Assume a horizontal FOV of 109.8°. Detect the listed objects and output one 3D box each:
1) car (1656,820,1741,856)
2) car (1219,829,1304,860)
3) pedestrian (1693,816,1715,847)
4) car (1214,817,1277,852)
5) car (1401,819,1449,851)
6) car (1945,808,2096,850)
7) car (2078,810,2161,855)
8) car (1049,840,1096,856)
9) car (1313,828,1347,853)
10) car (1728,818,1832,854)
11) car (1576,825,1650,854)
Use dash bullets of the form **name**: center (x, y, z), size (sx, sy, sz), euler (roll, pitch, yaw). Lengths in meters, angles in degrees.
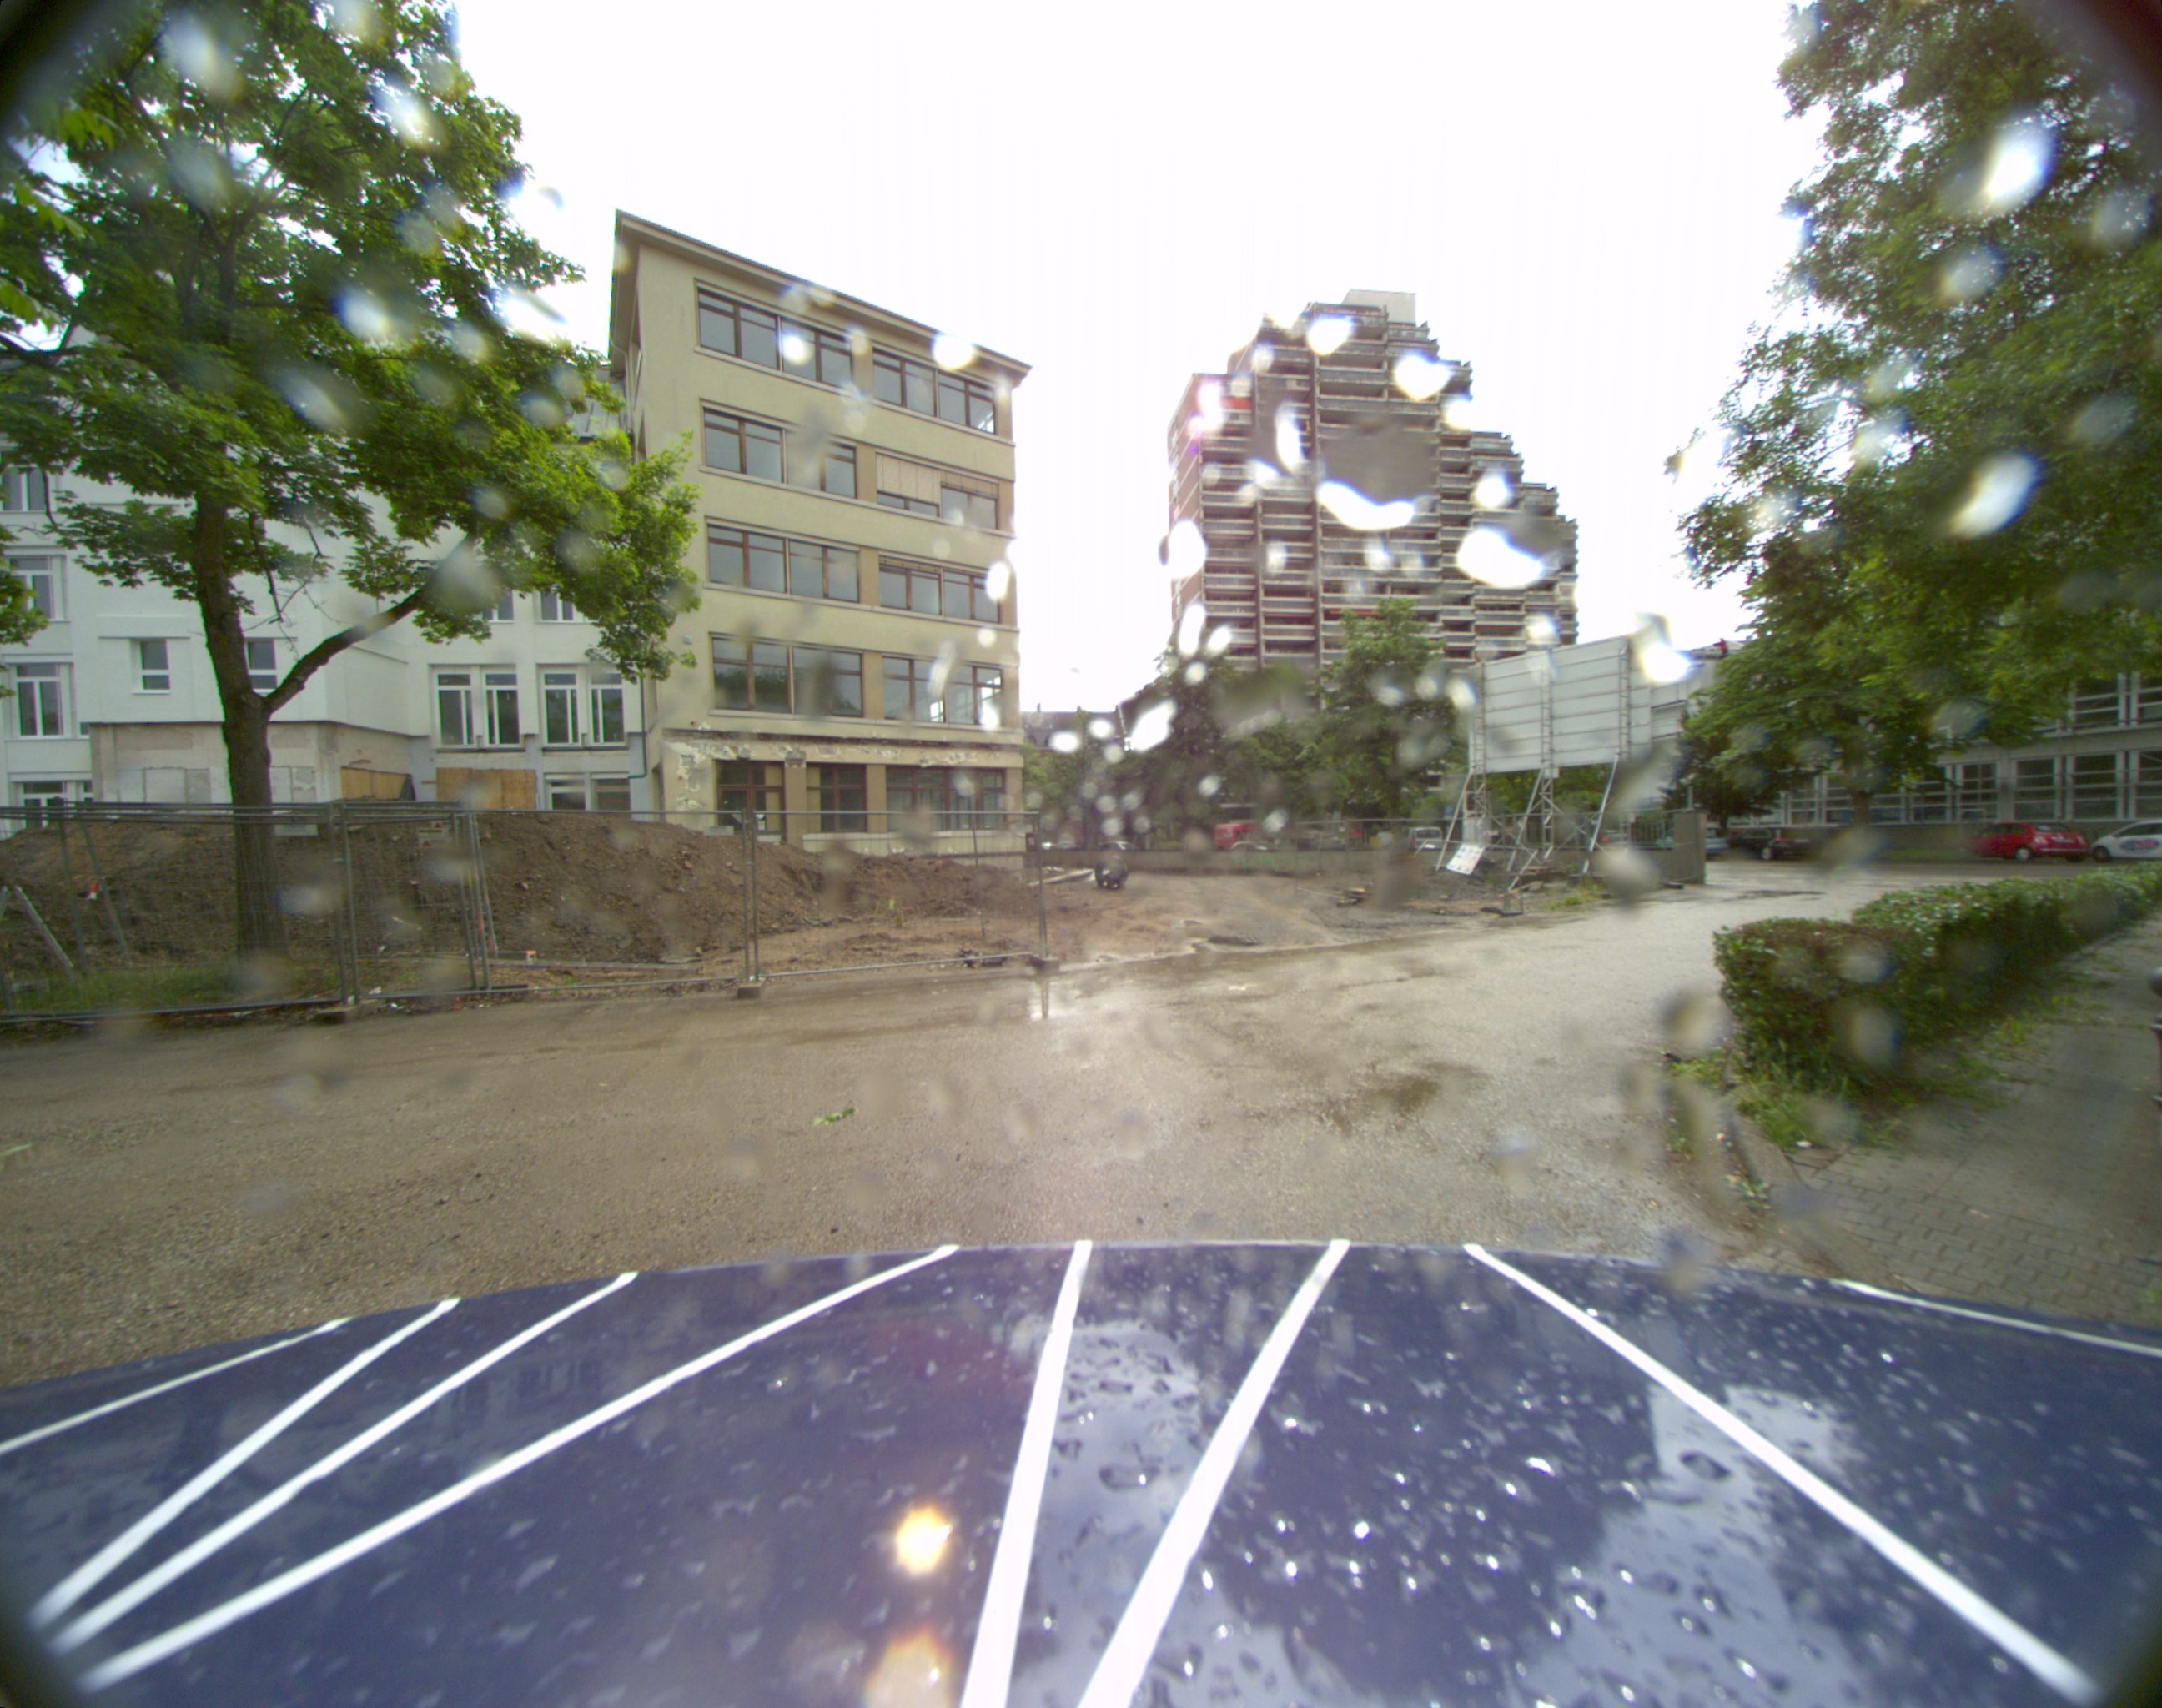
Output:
- **car**: center (29.146, -0.790, 35.984), size (1.705, 1.542, 3.652), euler (-1, 2, 13)
- **car**: center (9.088, -0.476, 38.506), size (1.893, 1.462, 3.990), euler (-1, 0, -33)
- **pedestrian**: center (36.250, -1.300, 44.223), size (0.706, 1.733, 0.840), euler (-1, 1, 16)
- **car**: center (12.891, -1.571, 59.943), size (2.304, 2.619, 5.472), euler (-2, 2, -19)
- **car**: center (21.637, -1.220, 47.939), size (1.934, 1.886, 4.648), euler (-1, 2, 13)
- **car**: center (34.942, -0.930, 28.409), size (1.739, 1.461, 3.410), euler (0, 2, 12)
- **car**: center (36.301, -0.739, 25.493), size (1.707, 1.444, 3.410), euler (-1, 2, 15)
- **car**: center (-0.828, -0.562, 70.446), size (2.003, 1.472, 4.751), euler (-1, 1, -35)
- **car**: center (17.784, -1.006, 54.395), size (1.782, 1.557, 4.047), euler (-1, 3, 11)
- **car**: center (30.702, -0.805, 33.518), size (1.739, 1.461, 3.652), euler (-2, 2, 12)
- **car**: center (27.513, -0.785, 39.394), size (1.767, 1.389, 3.651), euler (-2, 2, 10)
